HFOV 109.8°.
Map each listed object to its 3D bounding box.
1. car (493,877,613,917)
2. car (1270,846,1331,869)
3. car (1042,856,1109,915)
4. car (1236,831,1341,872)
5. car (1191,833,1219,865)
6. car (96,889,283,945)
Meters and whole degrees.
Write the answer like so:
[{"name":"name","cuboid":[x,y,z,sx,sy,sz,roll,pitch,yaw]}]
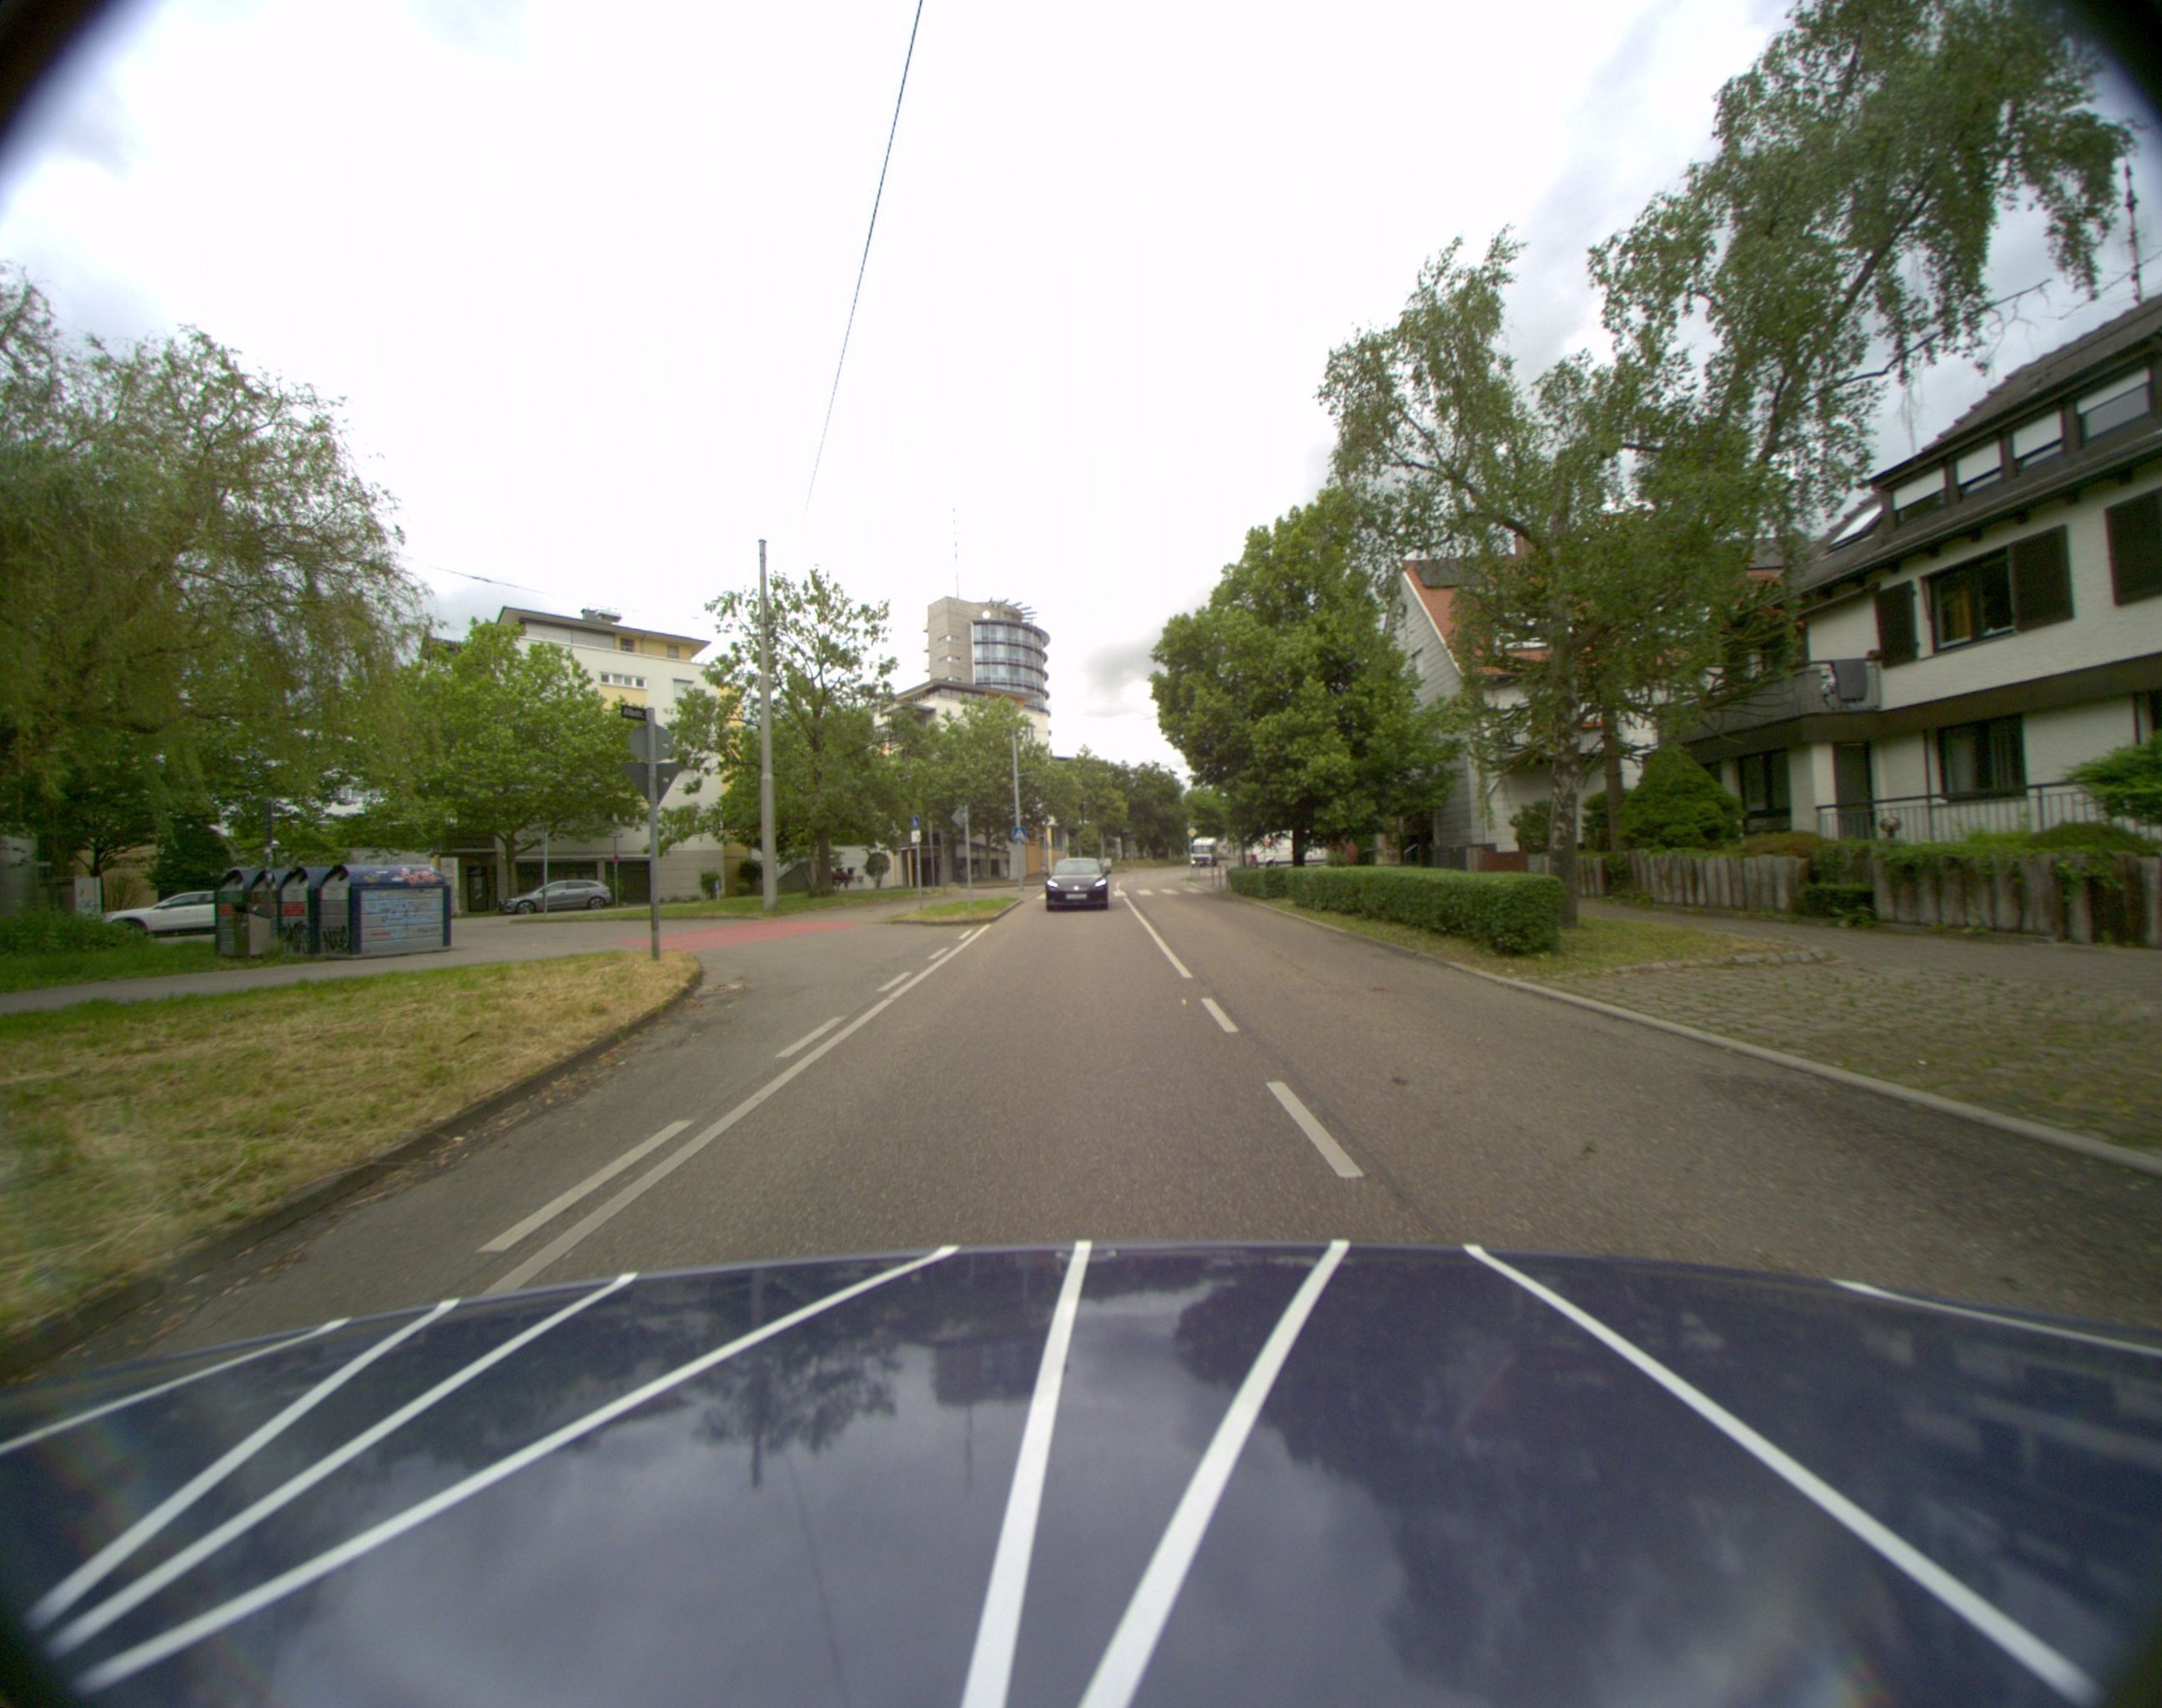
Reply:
[{"name":"car","cuboid":[-24.325,1.949,35.100,1.795,1.501,4.251,-3,0,45]},{"name":"car","cuboid":[16.573,0.242,57.502,3.999,1.501,1.799,-2,1,-6]},{"name":"car","cuboid":[-0.099,0.878,23.279,1.798,1.552,4.471,-2,0,1]},{"name":"car","cuboid":[13.233,-0.181,48.461,6.375,2.334,1.974,-2,0,-18]},{"name":"car","cuboid":[13.749,-0.596,83.820,2.433,3.256,7.798,-2,1,13]},{"name":"car","cuboid":[-32.097,2.212,27.572,4.174,1.602,1.795,-2,0,-44]}]
